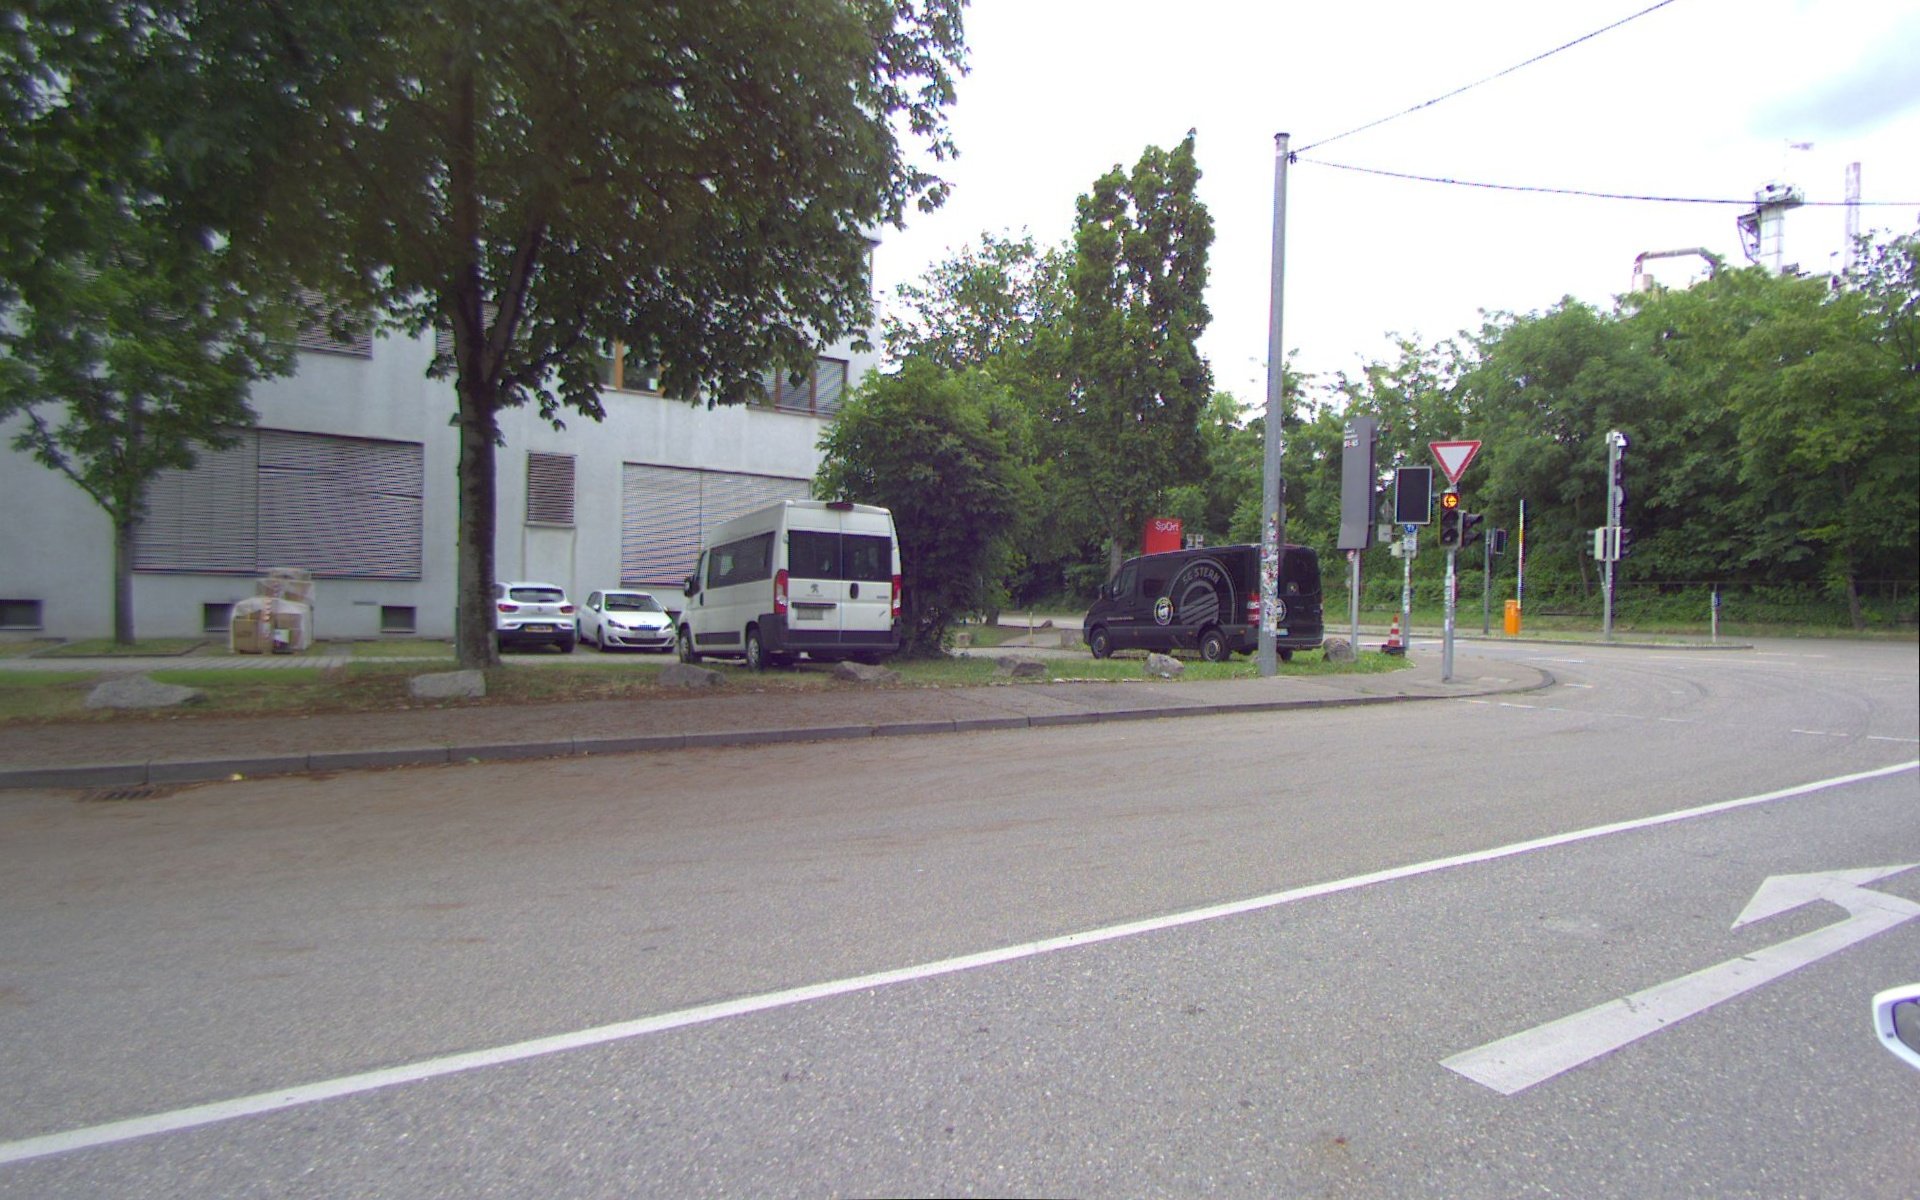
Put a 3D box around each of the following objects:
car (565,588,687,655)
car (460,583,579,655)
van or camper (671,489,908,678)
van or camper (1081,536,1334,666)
[{"bbox_3d":[-8.563,0.516,25.543,1.881,1.475,3.972,3,0,-34],"label":"car"},{"bbox_3d":[-10.584,0.416,23.979,1.881,1.475,3.972,3,0,-34],"label":"car"},{"bbox_3d":[-2.981,-0.244,16.481,2.039,2.604,4.943,3,0,-32],"label":"van or camper"},{"bbox_3d":[5.003,0.121,21.260,2.036,2.343,5.513,3,-3,-28],"label":"van or camper"}]
